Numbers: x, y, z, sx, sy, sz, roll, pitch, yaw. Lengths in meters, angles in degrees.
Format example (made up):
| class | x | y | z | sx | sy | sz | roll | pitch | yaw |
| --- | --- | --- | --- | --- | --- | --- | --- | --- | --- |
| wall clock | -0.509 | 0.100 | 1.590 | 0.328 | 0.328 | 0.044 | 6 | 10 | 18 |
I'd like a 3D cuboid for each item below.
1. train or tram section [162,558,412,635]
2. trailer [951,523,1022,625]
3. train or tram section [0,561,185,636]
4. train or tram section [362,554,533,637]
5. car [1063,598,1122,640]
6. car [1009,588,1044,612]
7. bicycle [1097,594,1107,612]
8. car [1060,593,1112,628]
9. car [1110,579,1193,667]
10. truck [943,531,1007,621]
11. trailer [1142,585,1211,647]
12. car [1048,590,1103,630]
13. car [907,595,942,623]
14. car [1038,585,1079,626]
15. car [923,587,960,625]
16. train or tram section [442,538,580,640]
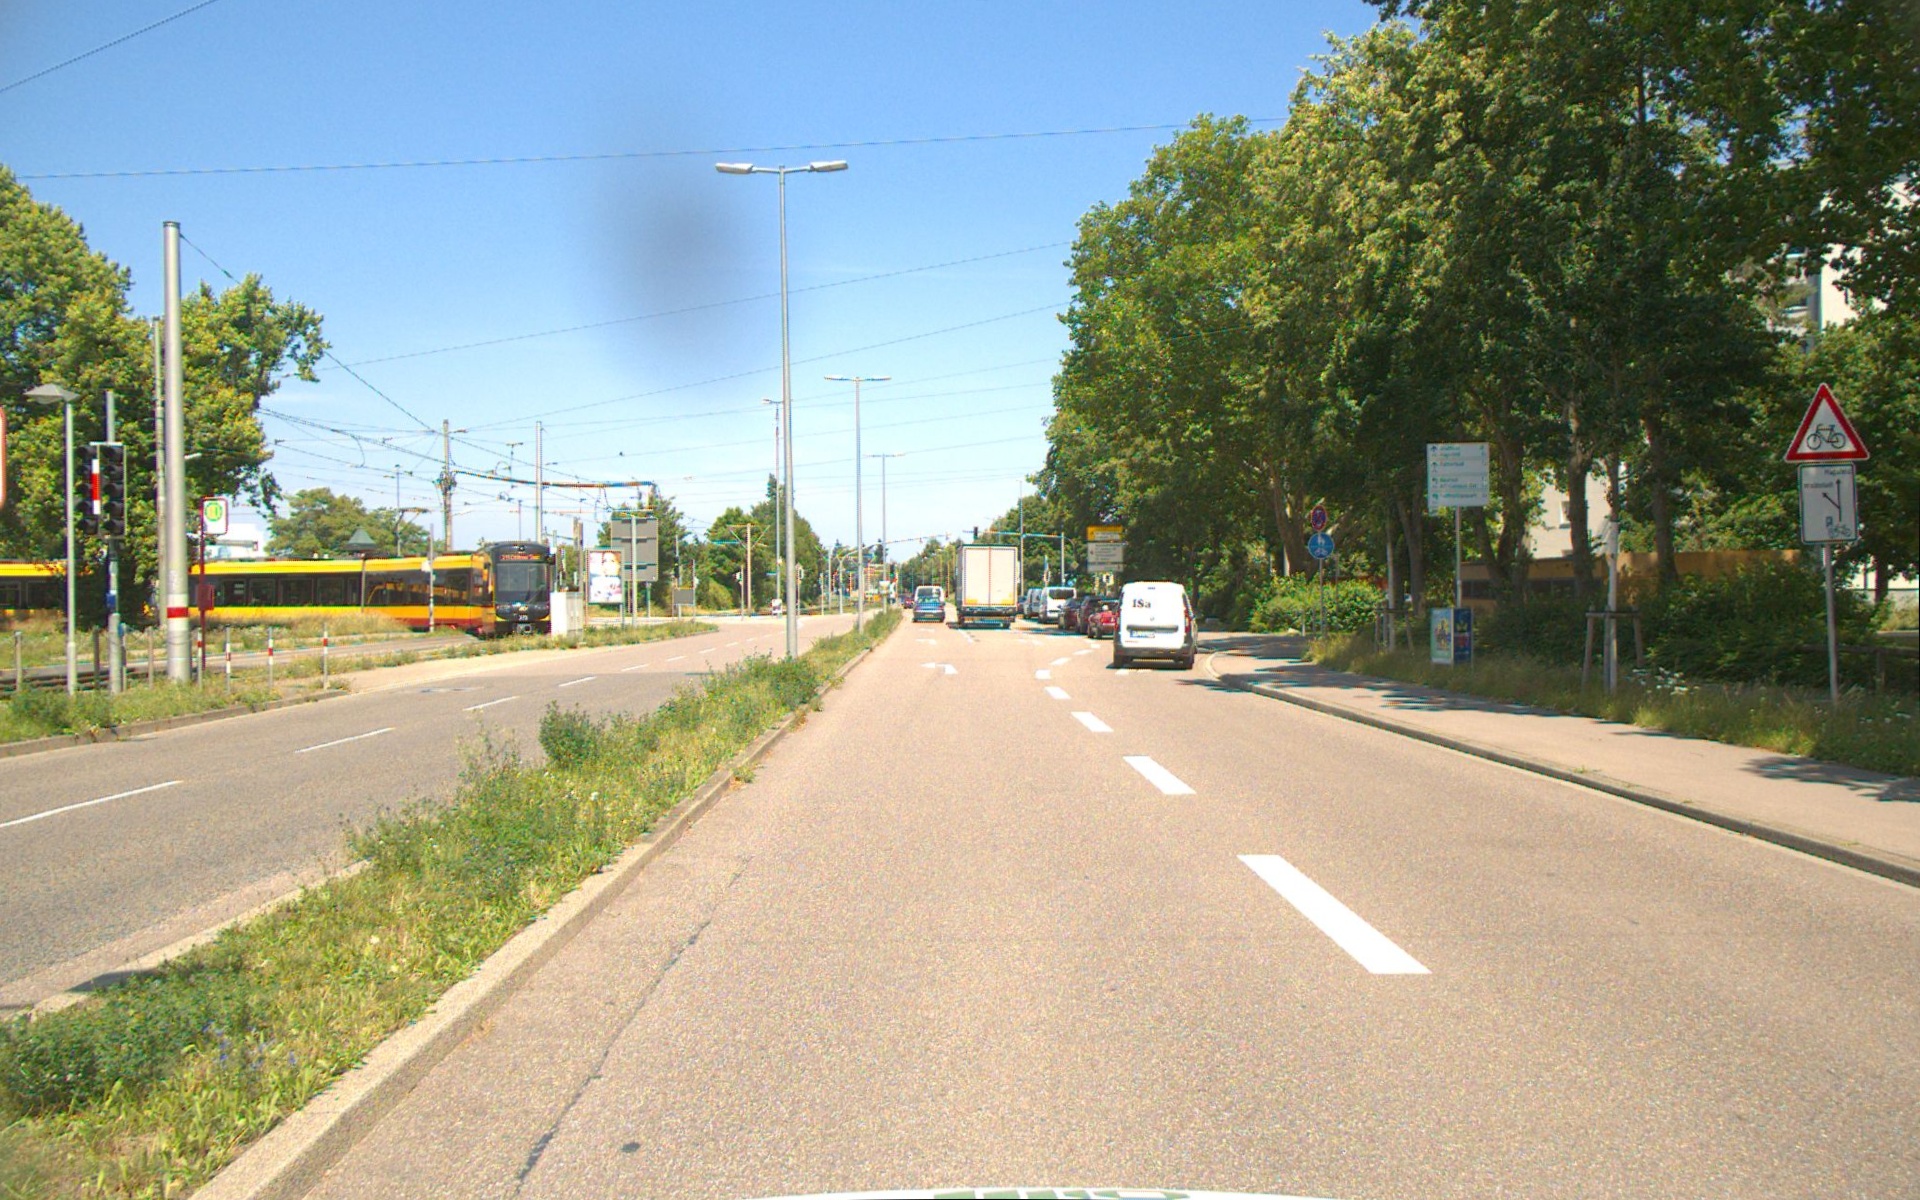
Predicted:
| class | x | y | z | sx | sy | sz | roll | pitch | yaw |
| --- | --- | --- | --- | --- | --- | --- | --- | --- | --- |
| train or tram section | -32.879 | -0.230 | 80.650 | 12.446 | 3.526 | 3.047 | 1 | 0 | 20 |
| trailer | 1.150 | -1.170 | 78.121 | 2.770 | 4.499 | 8.745 | 1 | 0 | -3 |
| train or tram section | -45.103 | -0.092 | 81.083 | 12.516 | 3.526 | 3.030 | 1 | 0 | -19 |
| train or tram section | -23.171 | -0.261 | 74.376 | 3.024 | 3.526 | 10.054 | 1 | 0 | -45 |
| car | 4.749 | 0.656 | 59.692 | 1.621 | 1.421 | 4.265 | 1 | 0 | -3 |
| car | 4.118 | -0.018 | 103.436 | 1.953 | 1.462 | 4.250 | 0 | 1 | -1 |
| bicycle | 11.253 | 0.236 | 131.083 | 0.631 | 1.327 | 1.627 | -3 | 0 | 10 |
| car | 5.761 | 0.464 | 76.188 | 1.953 | 1.529 | 4.501 | 0 | 1 | -1 |
| car | 4.215 | 0.467 | 36.288 | 1.673 | 1.778 | 4.430 | 1 | 0 | 7 |
| truck | 0.726 | -1.257 | 86.616 | 2.771 | 4.420 | 8.280 | 1 | 1 | -3 |
| trailer | 6.098 | 0.425 | 46.848 | 1.439 | 1.698 | 2.854 | 1 | 0 | -3 |
| car | 4.748 | 0.406 | 68.237 | 1.821 | 1.576 | 3.885 | 1 | 0 | -3 |
| car | -1.977 | 0.523 | 91.152 | 1.854 | 1.396 | 4.428 | 2 | -2 | -2 |
| car | 5.354 | 0.274 | 90.268 | 1.853 | 2.158 | 3.885 | 1 | 0 | -3 |
| car | -1.122 | 0.336 | 98.700 | 1.954 | 2.148 | 4.744 | 0 | 1 | -4 |
| train or tram section | -17.626 | -0.448 | 64.102 | 2.997 | 3.526 | 13.188 | 1 | 0 | -25 |
